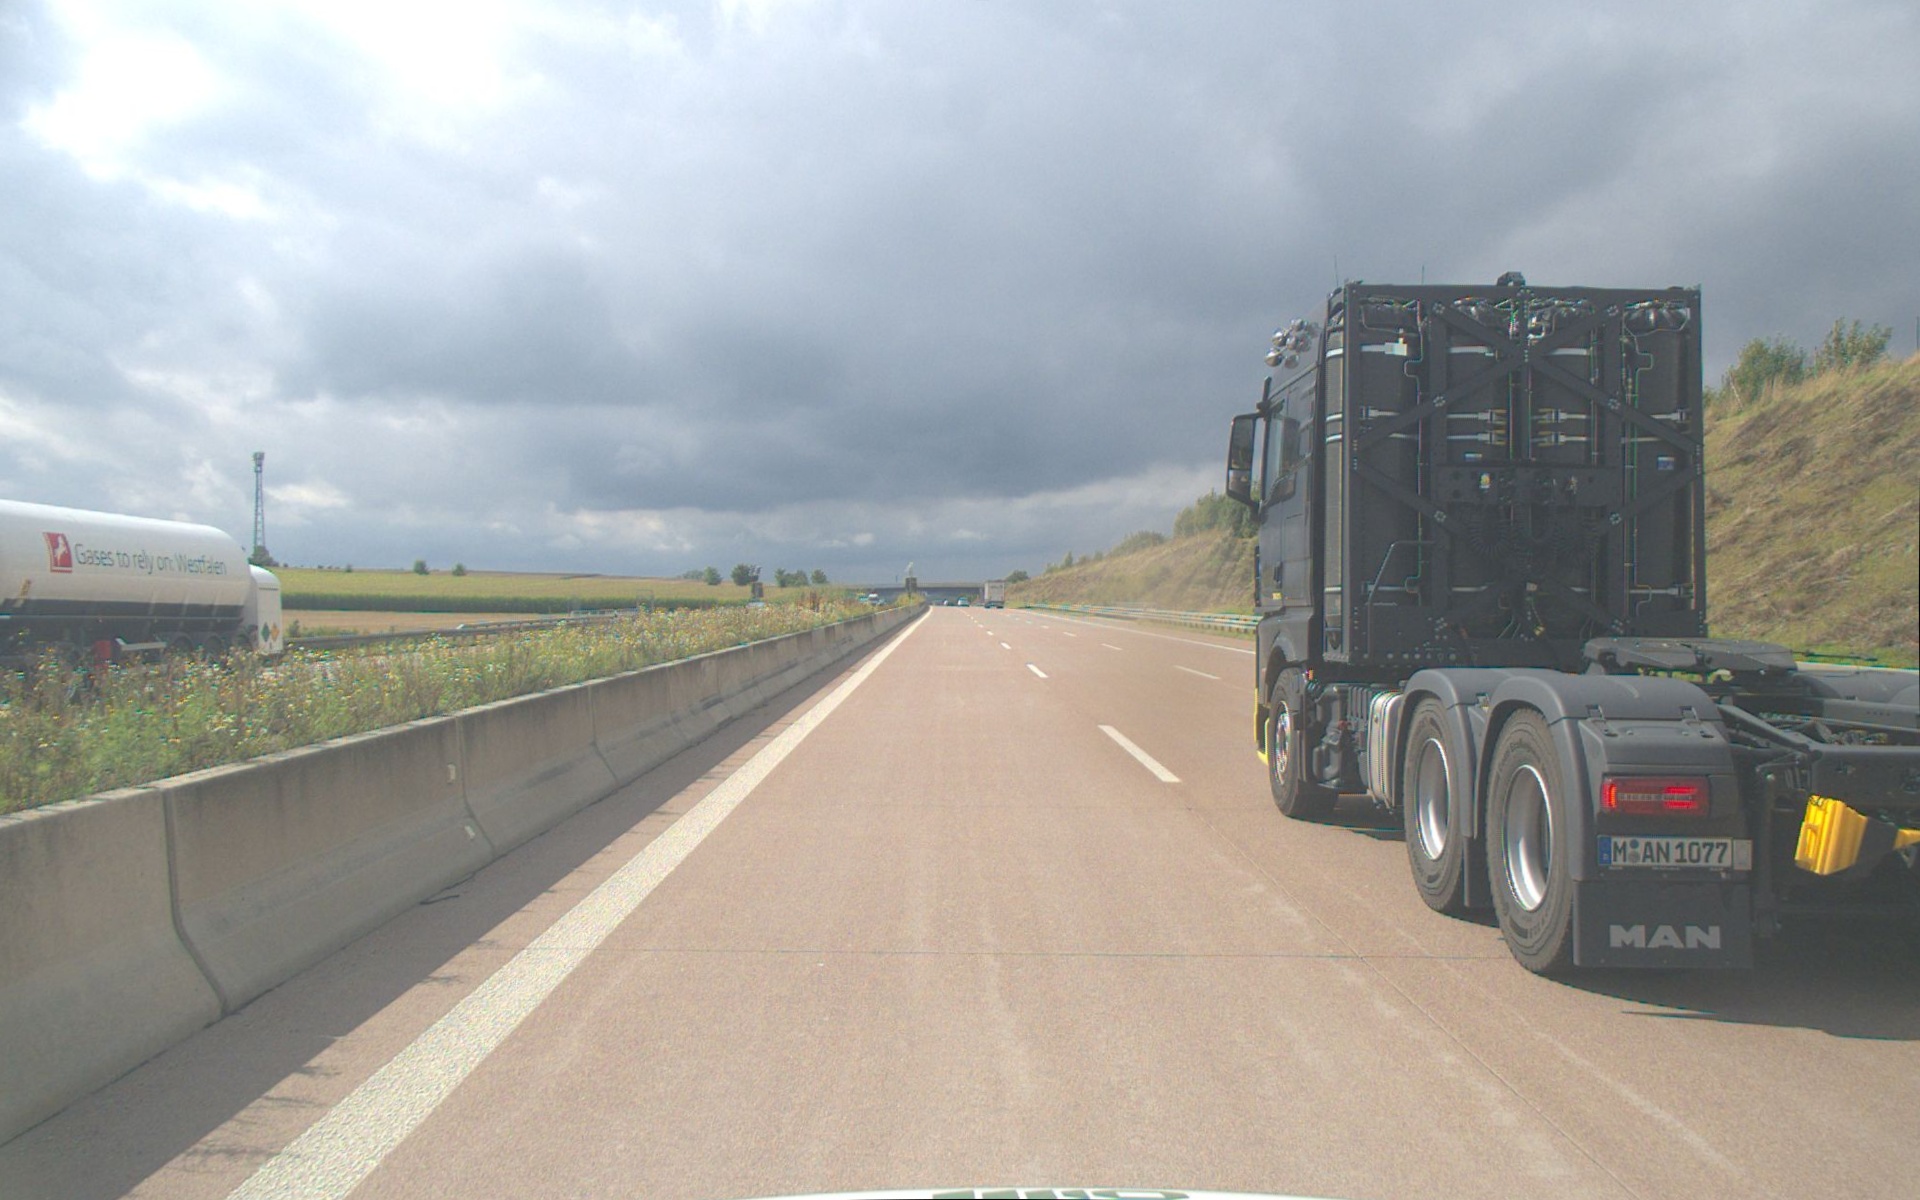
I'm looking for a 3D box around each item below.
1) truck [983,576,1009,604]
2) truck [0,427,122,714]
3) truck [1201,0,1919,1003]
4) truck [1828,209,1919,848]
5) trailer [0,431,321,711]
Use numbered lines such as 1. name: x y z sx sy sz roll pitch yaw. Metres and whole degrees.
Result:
1. truck: 5.409 -1.544 250.359 3.543 4.014 11.174 2 1 0
2. truck: -15.358 -0.381 24.173 2.832 4.170 6.335 -2 0 0
3. truck: 3.633 -0.346 10.118 2.790 3.612 8.316 1 0 -2
4. truck: 7.337 -0.429 9.011 2.693 3.960 4.543 1 0 -2
5. trailer: -15.325 -0.422 30.230 2.832 4.170 11.037 -2 0 0
